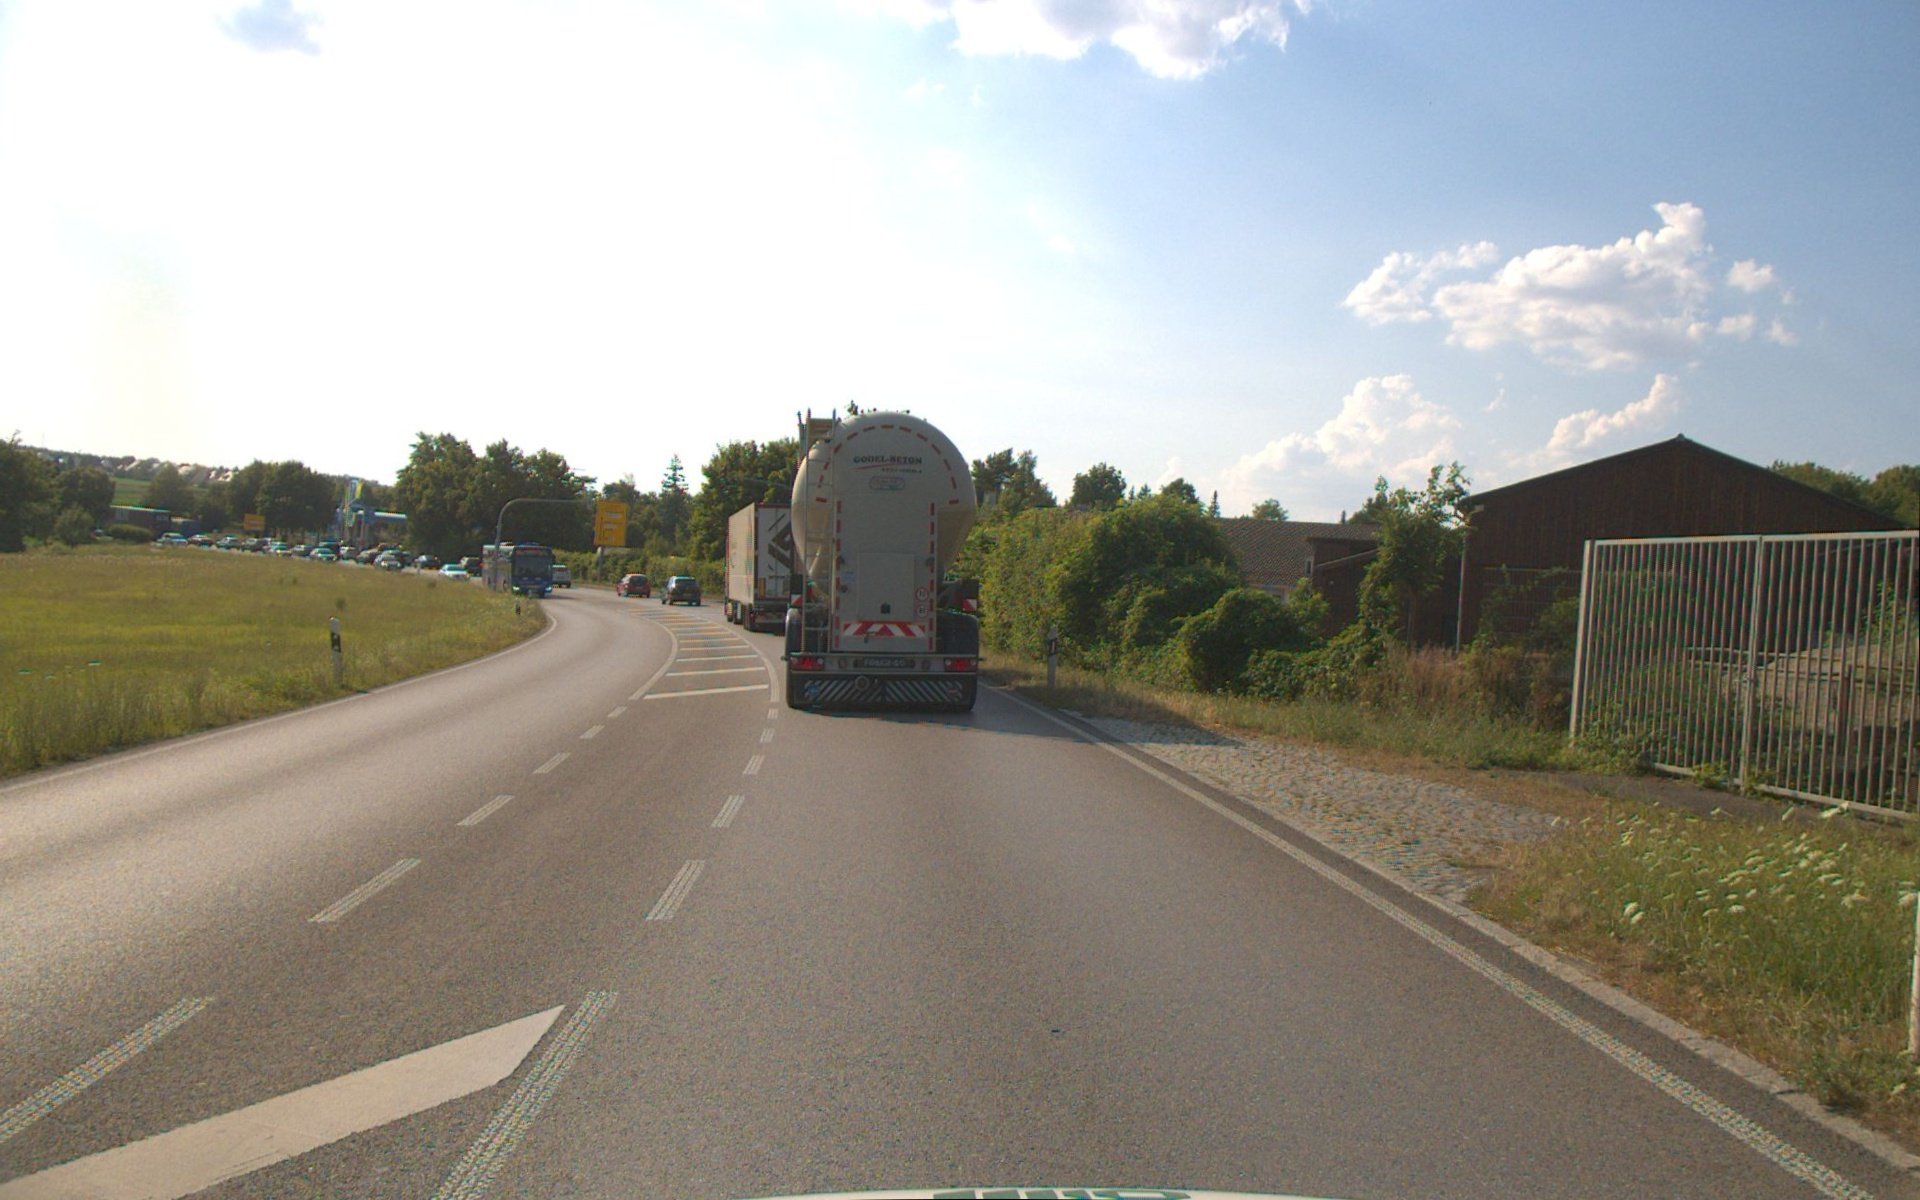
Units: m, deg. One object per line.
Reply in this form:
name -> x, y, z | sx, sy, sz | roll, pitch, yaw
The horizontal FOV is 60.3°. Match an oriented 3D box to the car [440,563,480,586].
car -> -38.211, -1.959, 126.316 | 1.825, 1.685, 3.952 | 2, -1, -34

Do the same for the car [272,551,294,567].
car -> -75.088, -4.531, 183.408 | 1.821, 1.685, 3.961 | 2, -1, -29

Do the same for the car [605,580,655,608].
car -> -21.511, -0.379, 107.788 | 2.269, 1.685, 4.382 | 2, -1, -24

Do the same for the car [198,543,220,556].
car -> -97.827, -6.593, 215.446 | 1.866, 1.627, 3.951 | 2, 1, -35

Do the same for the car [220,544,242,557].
car -> -92.983, -6.322, 210.906 | 1.867, 1.627, 3.950 | 2, 1, -36

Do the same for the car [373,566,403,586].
car -> -51.816, -2.154, 149.797 | 1.821, 1.685, 3.961 | 2, -1, -29

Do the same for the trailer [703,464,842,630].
trailer -> -6.492, -1.589, 55.582 | 2.916, 4.967, 10.243 | 2, -1, -16

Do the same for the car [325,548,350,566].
car -> -63.703, -4.347, 169.142 | 1.821, 1.685, 3.961 | 2, -1, -29

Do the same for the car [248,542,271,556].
car -> -86.966, -6.385, 205.244 | 1.866, 1.627, 3.951 | 2, 1, -35

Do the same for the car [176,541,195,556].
car -> -96.175, -6.435, 205.397 | 1.822, 1.685, 3.959 | 2, -1, -30

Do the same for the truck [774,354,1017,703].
truck -> -1.335, -0.836, 26.396 | 2.918, 4.248, 11.648 | 2, -1, -5

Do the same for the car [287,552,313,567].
car -> -77.886, -4.762, 195.156 | 2.067, 1.627, 3.952 | 2, 1, -35

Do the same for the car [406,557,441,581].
car -> -41.291, -2.375, 127.177 | 1.821, 1.685, 3.961 | 2, -1, -29

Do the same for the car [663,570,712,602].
car -> -15.241, -0.751, 92.318 | 1.965, 1.685, 3.976 | 2, -1, -21

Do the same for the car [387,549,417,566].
car -> -58.173, -4.419, 172.395 | 2.064, 1.627, 3.959 | 2, 1, -31

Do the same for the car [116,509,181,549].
car -> -111.255, -9.708, 226.545 | 13.013, 5.147, 3.530 | 3, 1, 43

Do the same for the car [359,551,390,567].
car -> -63.297, -4.470, 178.693 | 2.069, 1.627, 3.949 | 2, 1, -36

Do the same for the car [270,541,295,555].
car -> -82.364, -6.319, 200.956 | 1.867, 1.627, 3.950 | 2, 1, -36

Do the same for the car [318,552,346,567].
car -> -71.540, -4.626, 188.484 | 2.067, 1.627, 3.953 | 2, 1, -34

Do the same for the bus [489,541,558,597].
bus -> -27.723, -1.843, 104.680 | 2.755, 3.237, 12.047 | 2, -1, -21

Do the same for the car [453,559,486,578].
car -> -46.069, -2.981, 155.256 | 2.064, 1.627, 3.959 | 2, 1, -31

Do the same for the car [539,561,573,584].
car -> -30.910, -2.089, 126.605 | 1.817, 1.685, 3.970 | 2, -1, -24

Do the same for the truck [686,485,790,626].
truck -> -8.475, -1.574, 62.525 | 2.915, 4.972, 6.402 | 2, -1, -16
